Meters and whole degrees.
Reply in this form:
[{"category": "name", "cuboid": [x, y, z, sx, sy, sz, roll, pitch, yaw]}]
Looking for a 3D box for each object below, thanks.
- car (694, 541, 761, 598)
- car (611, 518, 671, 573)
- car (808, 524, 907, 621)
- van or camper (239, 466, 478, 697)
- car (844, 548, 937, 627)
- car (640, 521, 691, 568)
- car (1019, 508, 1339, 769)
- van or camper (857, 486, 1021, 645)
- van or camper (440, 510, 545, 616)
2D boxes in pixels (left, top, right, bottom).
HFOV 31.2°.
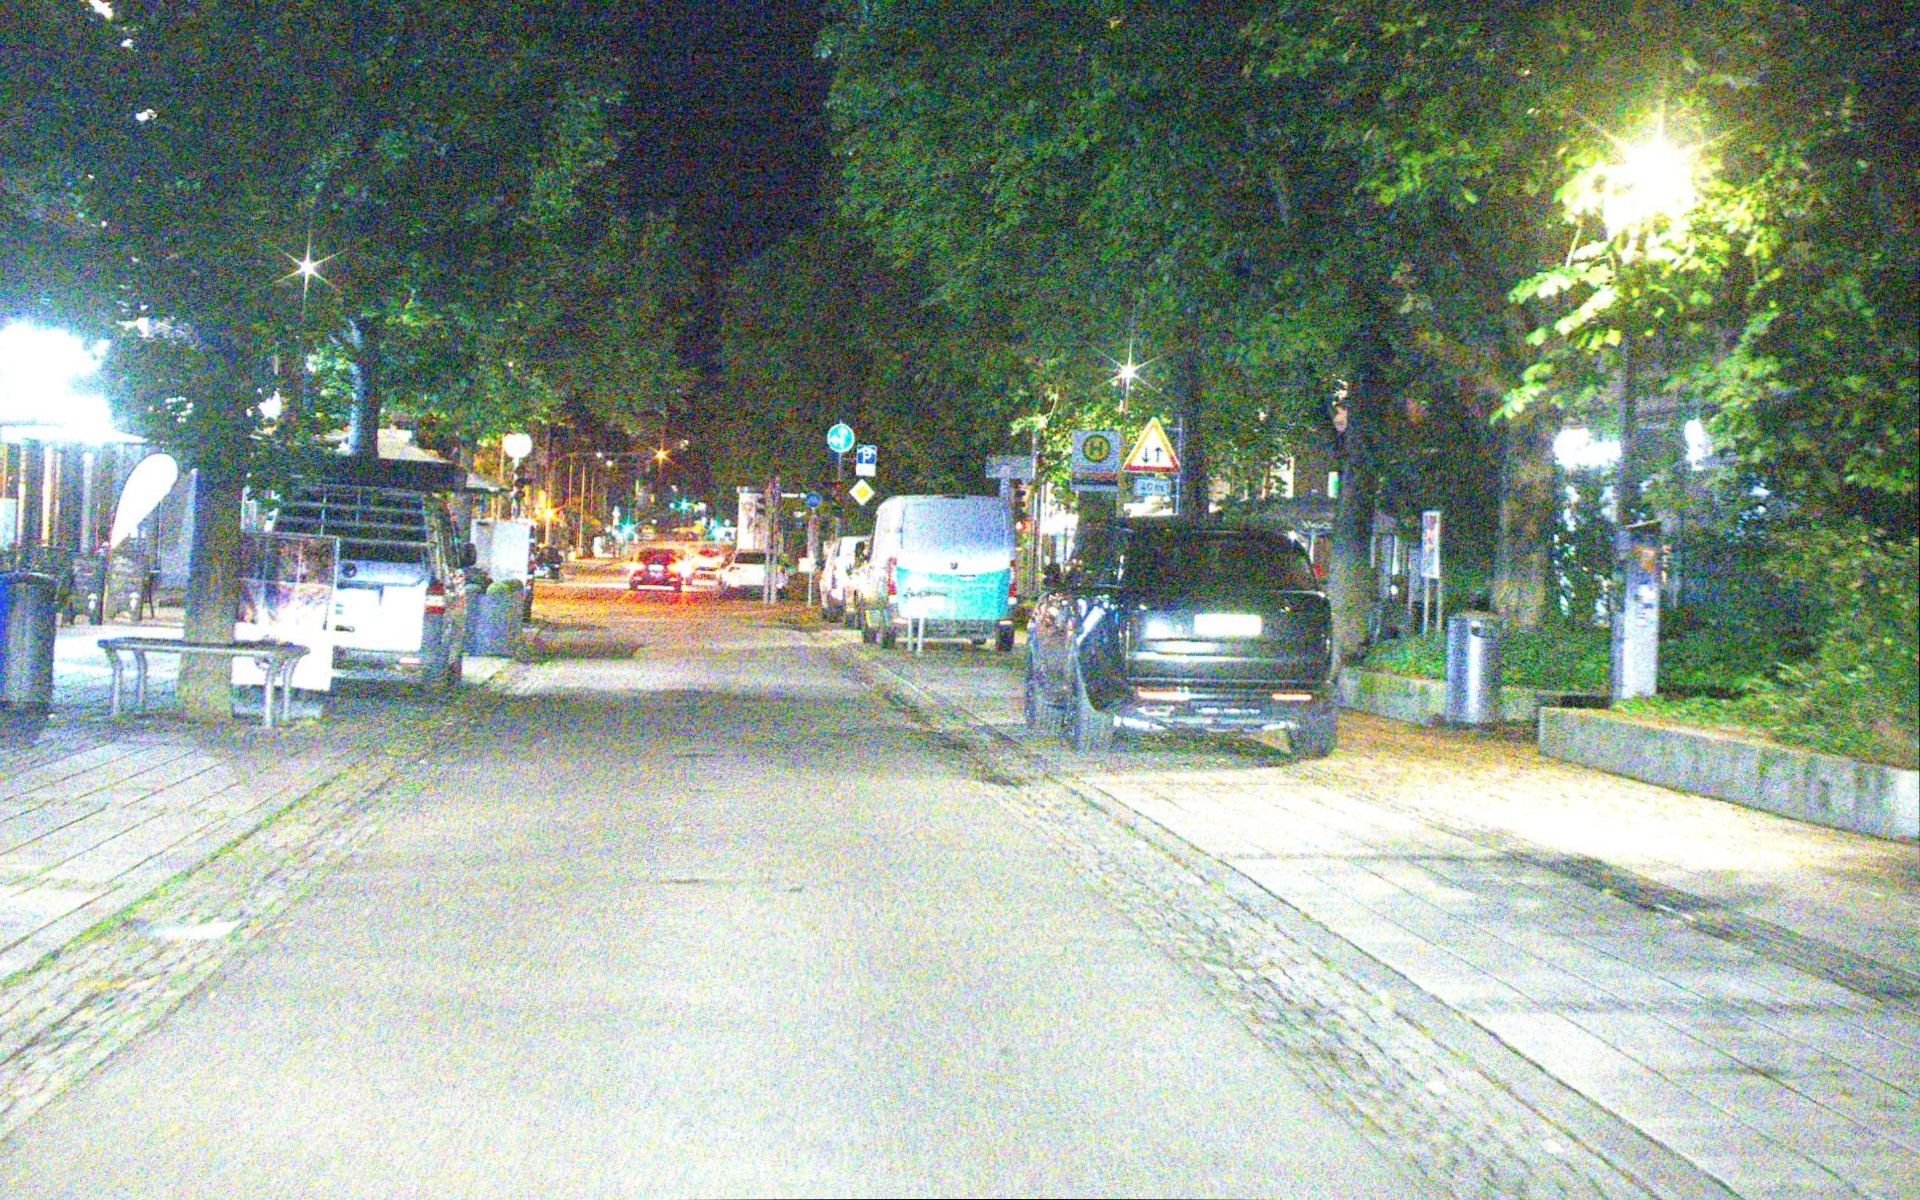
[{"category": "car", "cuboid": [-6.718, -0.899, 99.212, 1.839, 1.537, 3.846, 2, 1, -4]}, {"category": "car", "cuboid": [-11.246, -1.932, 121.267, 1.993, 1.817, 4.001, 2, 1, -5]}, {"category": "car", "cuboid": [-2.153, -0.587, 71.519, 1.839, 1.894, 3.846, 2, 1, -4]}, {"category": "van or camper", "cuboid": [-5.814, -0.204, 33.652, 1.866, 2.004, 4.263, 4, 1, -6]}, {"category": "car", "cuboid": [-1.354, -0.261, 65.774, 1.531, 1.413, 3.846, 2, 1, -4]}, {"category": "car", "cuboid": [-12.253, -2.302, 142.705, 1.993, 1.817, 4.001, 2, 1, -6]}, {"category": "car", "cuboid": [1.616, 0.242, 26.896, 1.814, 1.822, 4.348, 2, 1, -5]}, {"category": "van or camper", "cuboid": [-0.372, -0.549, 52.899, 2.108, 2.309, 4.263, 1, 1, -6]}, {"category": "van or camper", "cuboid": [-9.267, -0.742, 68.074, 1.935, 1.982, 3.846, 2, 1, -8]}]
